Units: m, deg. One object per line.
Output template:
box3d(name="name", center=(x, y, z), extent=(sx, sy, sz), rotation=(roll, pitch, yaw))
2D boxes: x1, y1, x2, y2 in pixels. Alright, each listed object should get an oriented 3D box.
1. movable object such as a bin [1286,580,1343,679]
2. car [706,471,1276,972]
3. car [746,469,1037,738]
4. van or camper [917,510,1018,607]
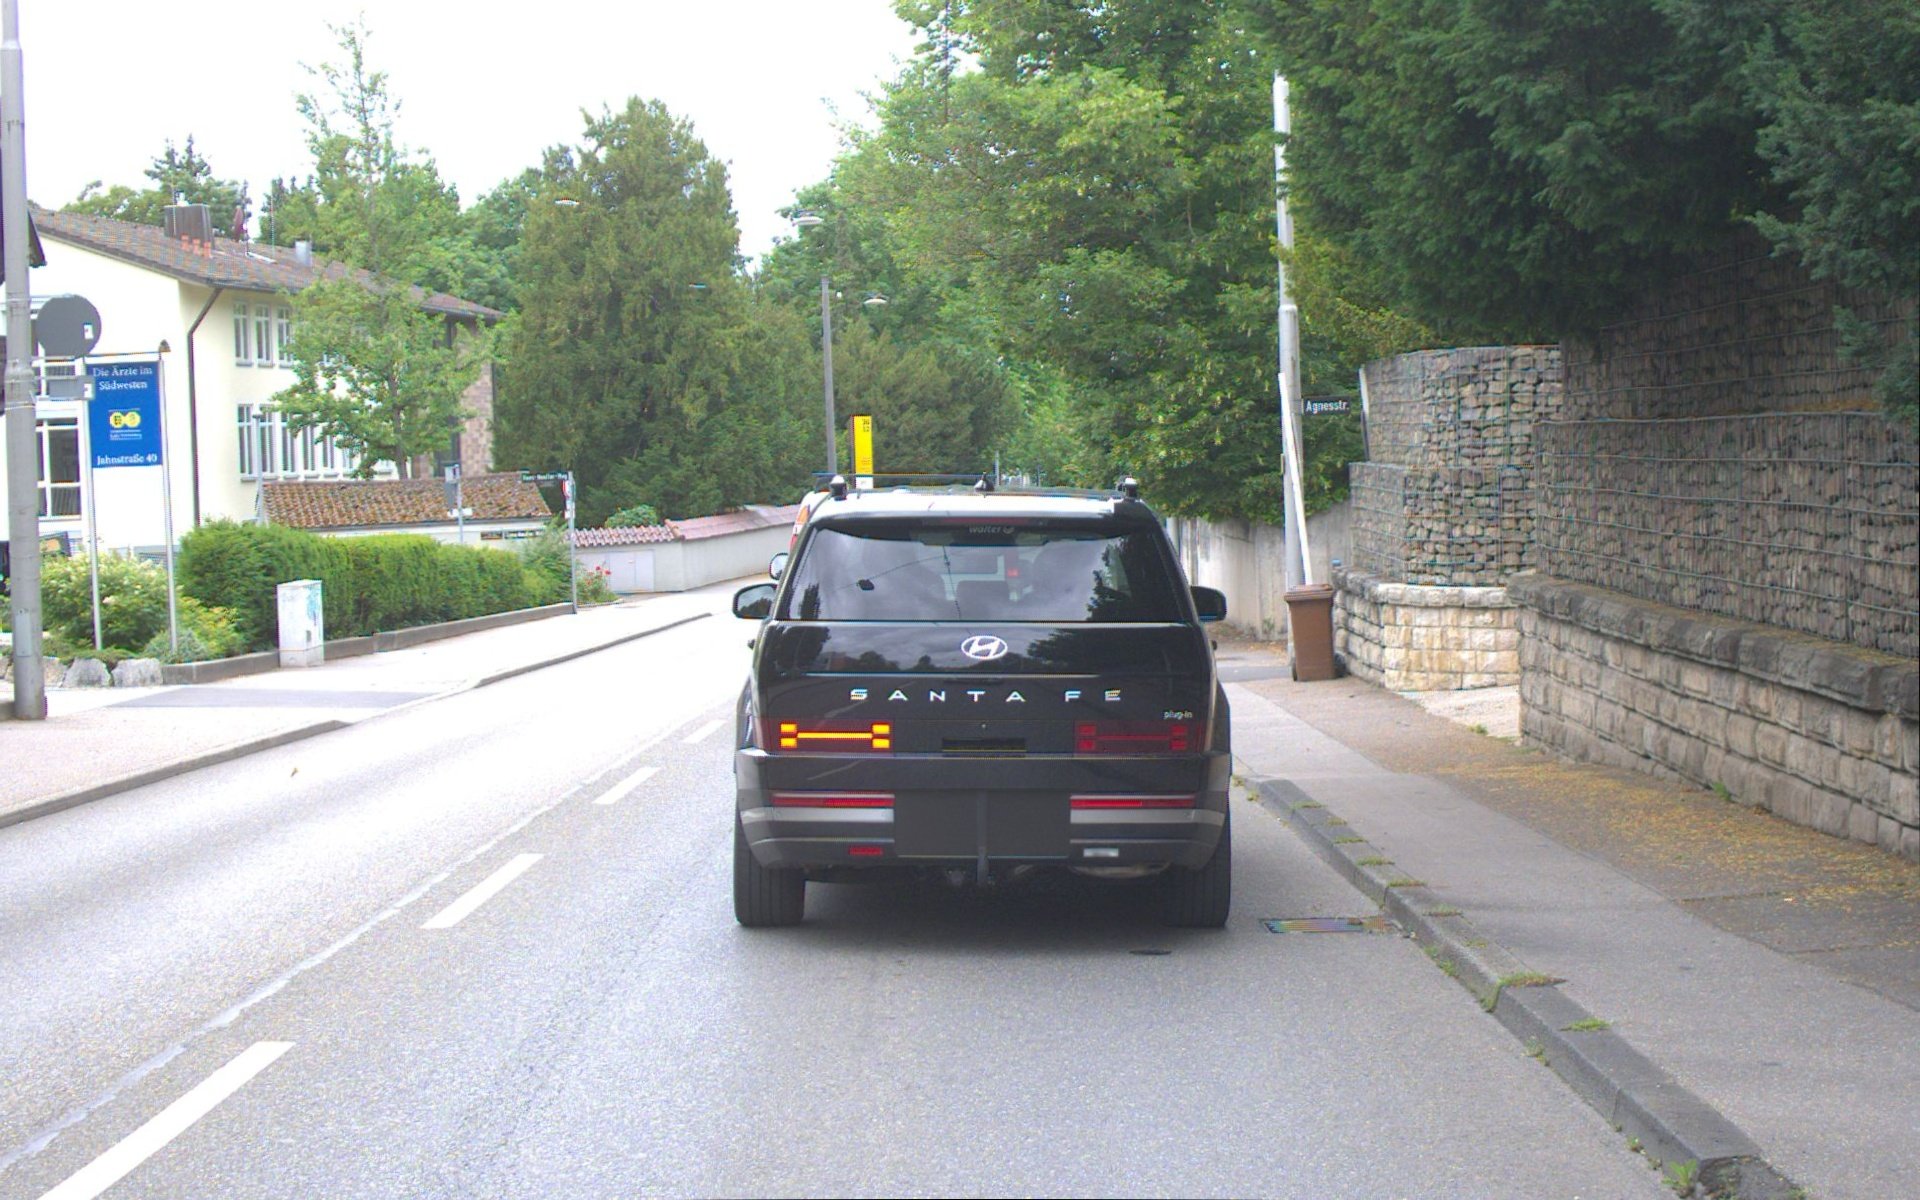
box3d(name="movable object such as a bin", center=(3.402, 0.281, 32.977), extent=(0.445, 0.907, 0.394), rotation=(-4, 0, 10))
box3d(name="car", center=(0.127, 0.374, 14.135), extent=(1.957, 1.707, 4.223), rotation=(1, 1, 1))
box3d(name="car", center=(-0.630, -0.009, 27.434), extent=(1.956, 1.949, 4.224), rotation=(1, 1, -6))
box3d(name="van or camper", center=(0.190, -0.963, 77.801), extent=(1.676, 2.000, 3.937), rotation=(-1, 3, 9))
